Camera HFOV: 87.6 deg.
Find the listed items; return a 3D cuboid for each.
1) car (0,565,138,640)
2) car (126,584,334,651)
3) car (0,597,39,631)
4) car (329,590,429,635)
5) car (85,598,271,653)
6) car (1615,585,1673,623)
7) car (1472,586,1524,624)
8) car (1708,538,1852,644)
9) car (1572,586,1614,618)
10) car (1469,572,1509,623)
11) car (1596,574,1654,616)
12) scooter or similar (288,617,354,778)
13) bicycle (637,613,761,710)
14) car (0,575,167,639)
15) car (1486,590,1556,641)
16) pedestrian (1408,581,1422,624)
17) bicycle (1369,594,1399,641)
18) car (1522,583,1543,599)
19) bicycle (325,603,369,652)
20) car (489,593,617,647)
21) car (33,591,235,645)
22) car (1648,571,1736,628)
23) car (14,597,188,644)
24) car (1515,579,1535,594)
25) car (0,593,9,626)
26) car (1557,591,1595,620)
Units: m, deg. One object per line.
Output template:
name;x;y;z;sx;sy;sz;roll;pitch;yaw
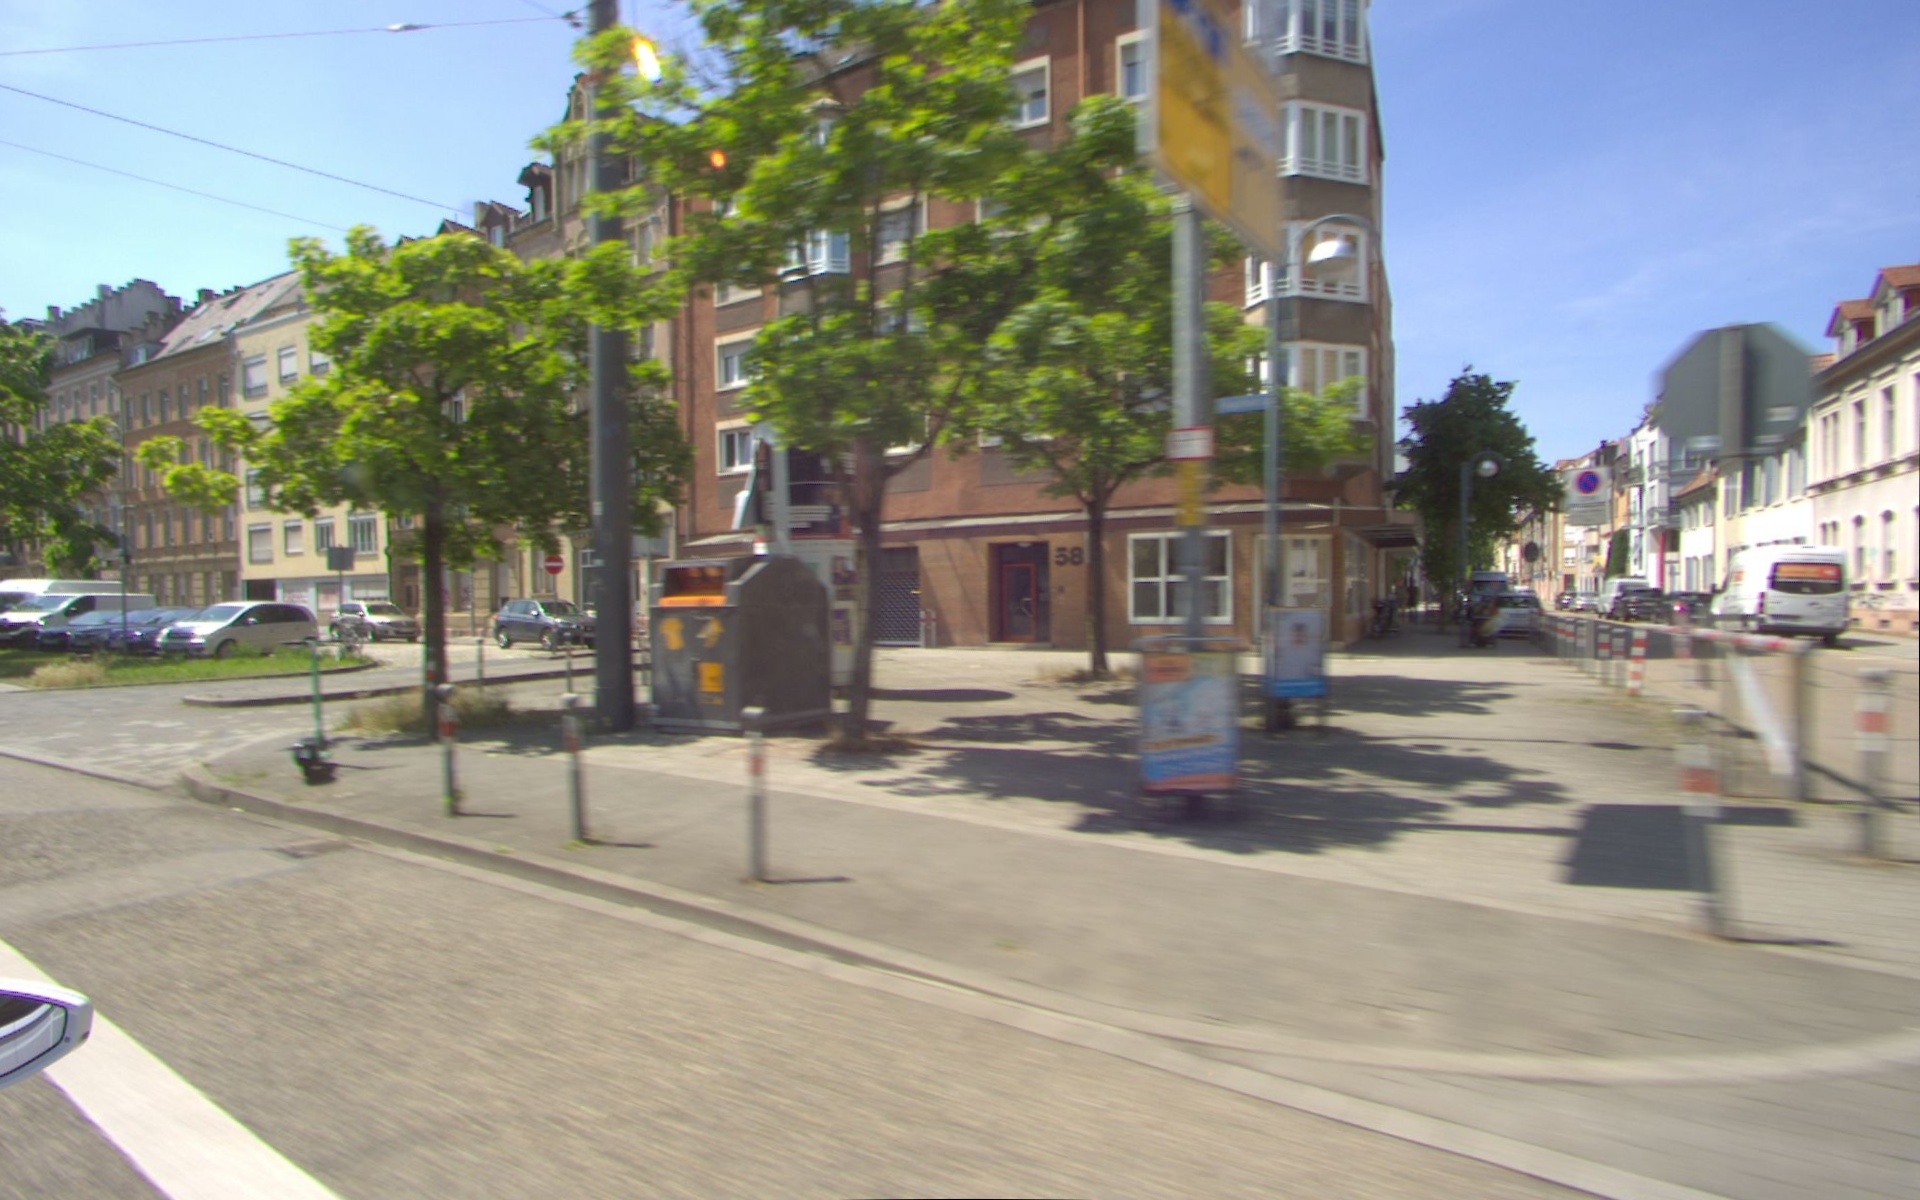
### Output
car;-32.851;0.099;36.075;2.195;2.493;5.551;0;0;-4
car;-19.529;0.451;27.052;1.962;1.653;4.411;0;0;10
car;-39.623;0.558;39.782;1.934;1.356;4.432;0;0;0
car;-23.188;0.488;39.936;3.941;1.706;1.816;0;0;31
car;-22.076;0.689;28.484;1.789;1.418;3.998;0;0;11
car;32.098;0.207;47.092;1.807;1.706;3.984;0;0;28
car;23.049;0.223;42.987;1.634;1.513;3.822;0;0;24
car;22.637;-0.198;27.886;1.968;2.656;5.199;1;0;27
car;42.847;0.161;67.873;1.968;2.062;4.811;0;0;27
car;28.682;-0.100;54.383;1.634;2.674;3.822;1;0;24
car;34.663;-0.216;52.324;1.968;2.062;4.811;0;0;27
scooter or similar;-5.611;0.813;8.788;0.386;1.232;1.171;-4;5;-33
bicycle;-3.388;0.766;12.957;1.682;1.168;0.485;0;0;30
car;-30.042;0.245;34.089;2.036;1.999;4.848;0;0;3
car;18.078;0.499;32.381;1.583;1.539;3.822;0;0;24
pedestrian;18.010;0.091;39.659;0.482;1.710;0.468;1;0;26
bicycle;12.587;0.509;29.676;0.694;1.304;2.714;1;0;25
car;63.473;-0.988;111.018;1.815;1.762;3.685;0;0;26
bicycle;-15.915;0.690;26.046;0.730;1.209;2.350;0;0;-26
car;-13.357;0.619;32.749;4.543;1.621;1.985;0;0;40
car;-24.805;0.523;30.339;1.927;1.516;4.632;0;0;8
car;28.385;0.019;38.987;1.968;2.062;4.811;0;0;27
car;-27.323;0.633;32.030;1.789;1.405;3.998;0;0;11
car;68.594;-1.602;121.564;1.815;1.762;3.685;0;0;26
car;-42.540;0.398;41.558;1.934;1.446;4.692;0;0;-4
car;45.824;0.438;74.578;1.968;2.062;4.811;0;0;27
